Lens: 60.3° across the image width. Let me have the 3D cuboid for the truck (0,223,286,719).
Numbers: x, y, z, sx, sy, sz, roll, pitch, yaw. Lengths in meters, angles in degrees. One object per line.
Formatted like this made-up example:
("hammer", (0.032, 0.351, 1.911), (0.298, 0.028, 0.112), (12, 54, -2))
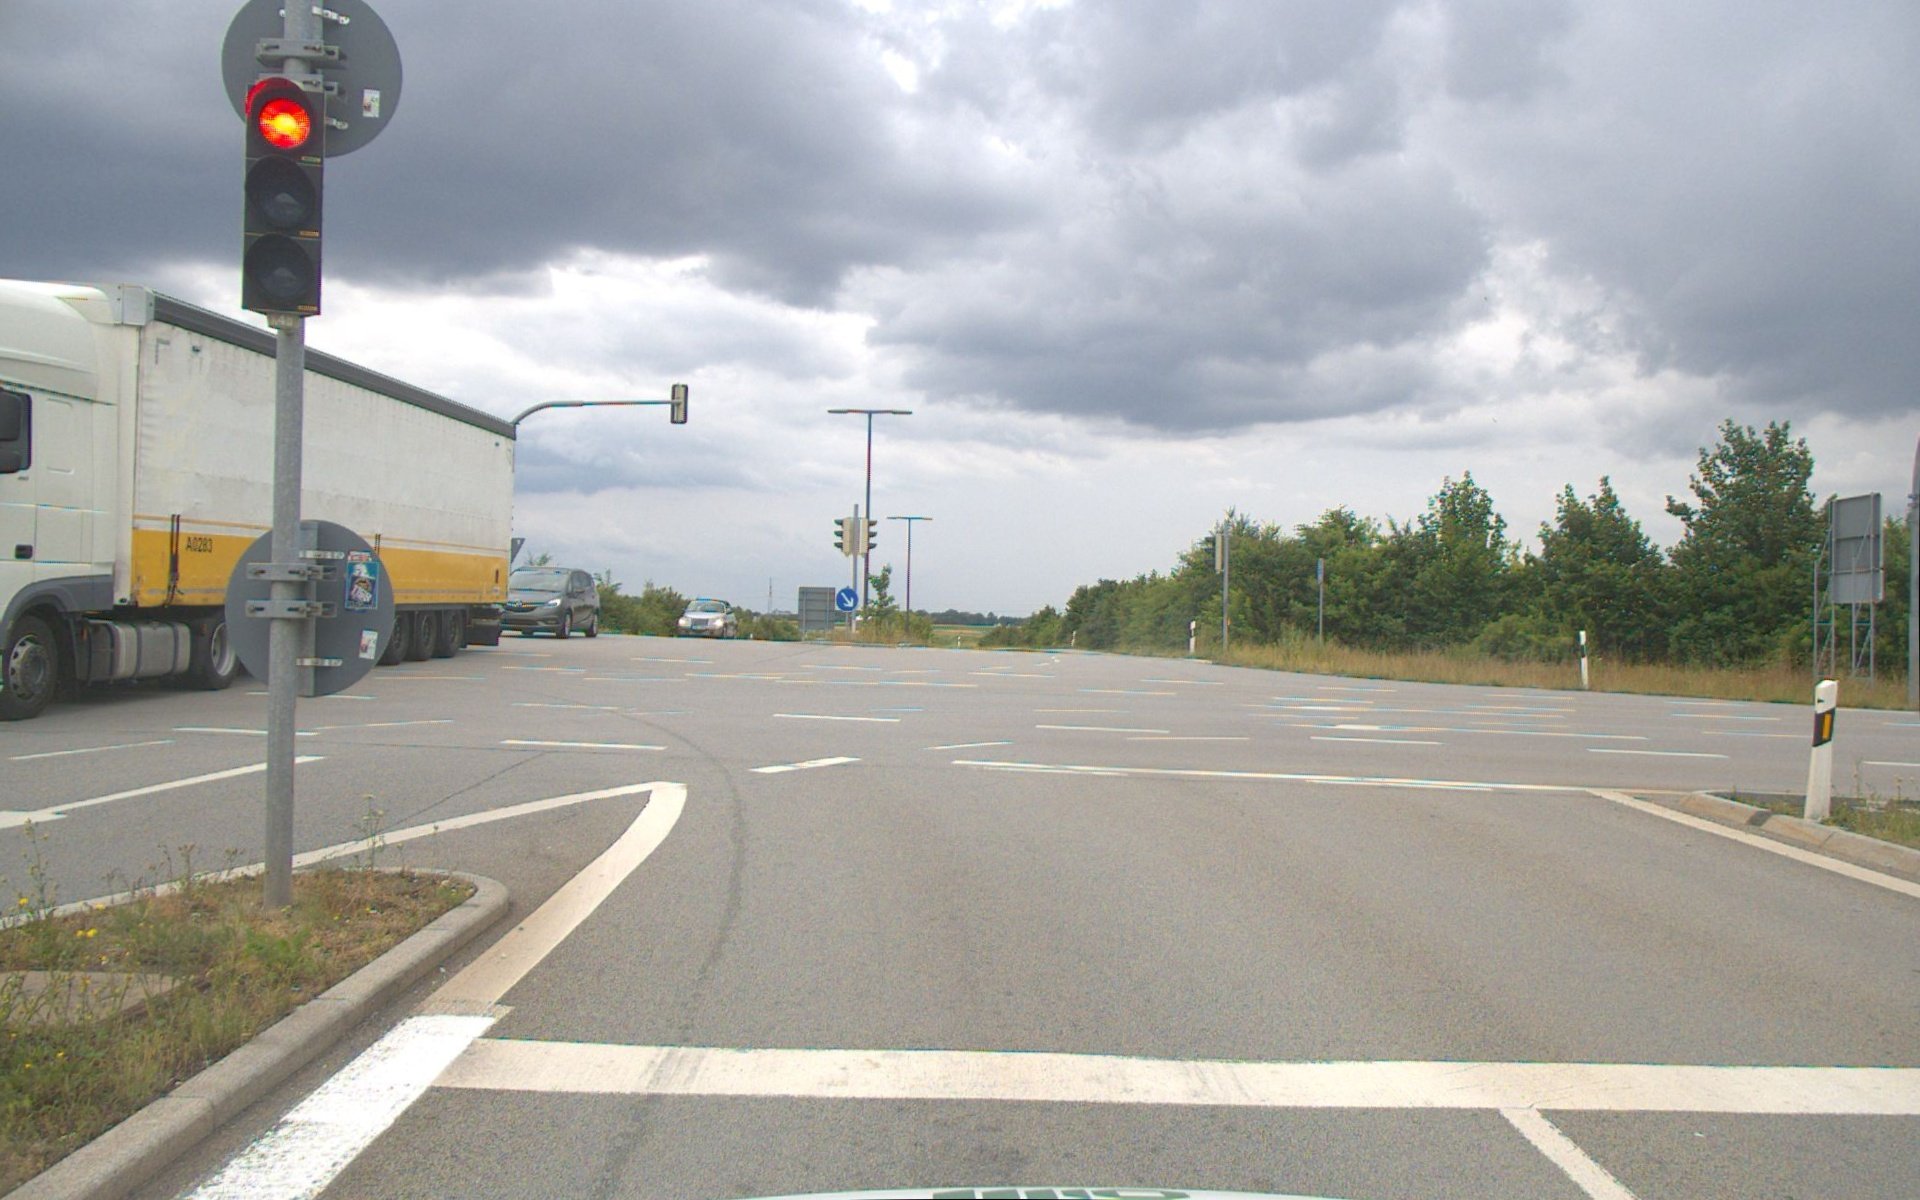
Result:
("truck", (-9.443, -1.098, 16.587), (2.595, 4.214, 6.403), (1, 0, 1))

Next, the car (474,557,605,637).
("car", (-9.720, -0.065, 38.558), (1.953, 1.723, 4.454), (1, 0, -1))

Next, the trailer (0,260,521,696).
("trailer", (-9.400, -1.184, 23.265), (2.636, 4.284, 13.840), (1, 0, 0))

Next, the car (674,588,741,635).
("car", (-9.081, 0.392, 59.744), (1.773, 1.546, 4.242), (2, 1, -1))
